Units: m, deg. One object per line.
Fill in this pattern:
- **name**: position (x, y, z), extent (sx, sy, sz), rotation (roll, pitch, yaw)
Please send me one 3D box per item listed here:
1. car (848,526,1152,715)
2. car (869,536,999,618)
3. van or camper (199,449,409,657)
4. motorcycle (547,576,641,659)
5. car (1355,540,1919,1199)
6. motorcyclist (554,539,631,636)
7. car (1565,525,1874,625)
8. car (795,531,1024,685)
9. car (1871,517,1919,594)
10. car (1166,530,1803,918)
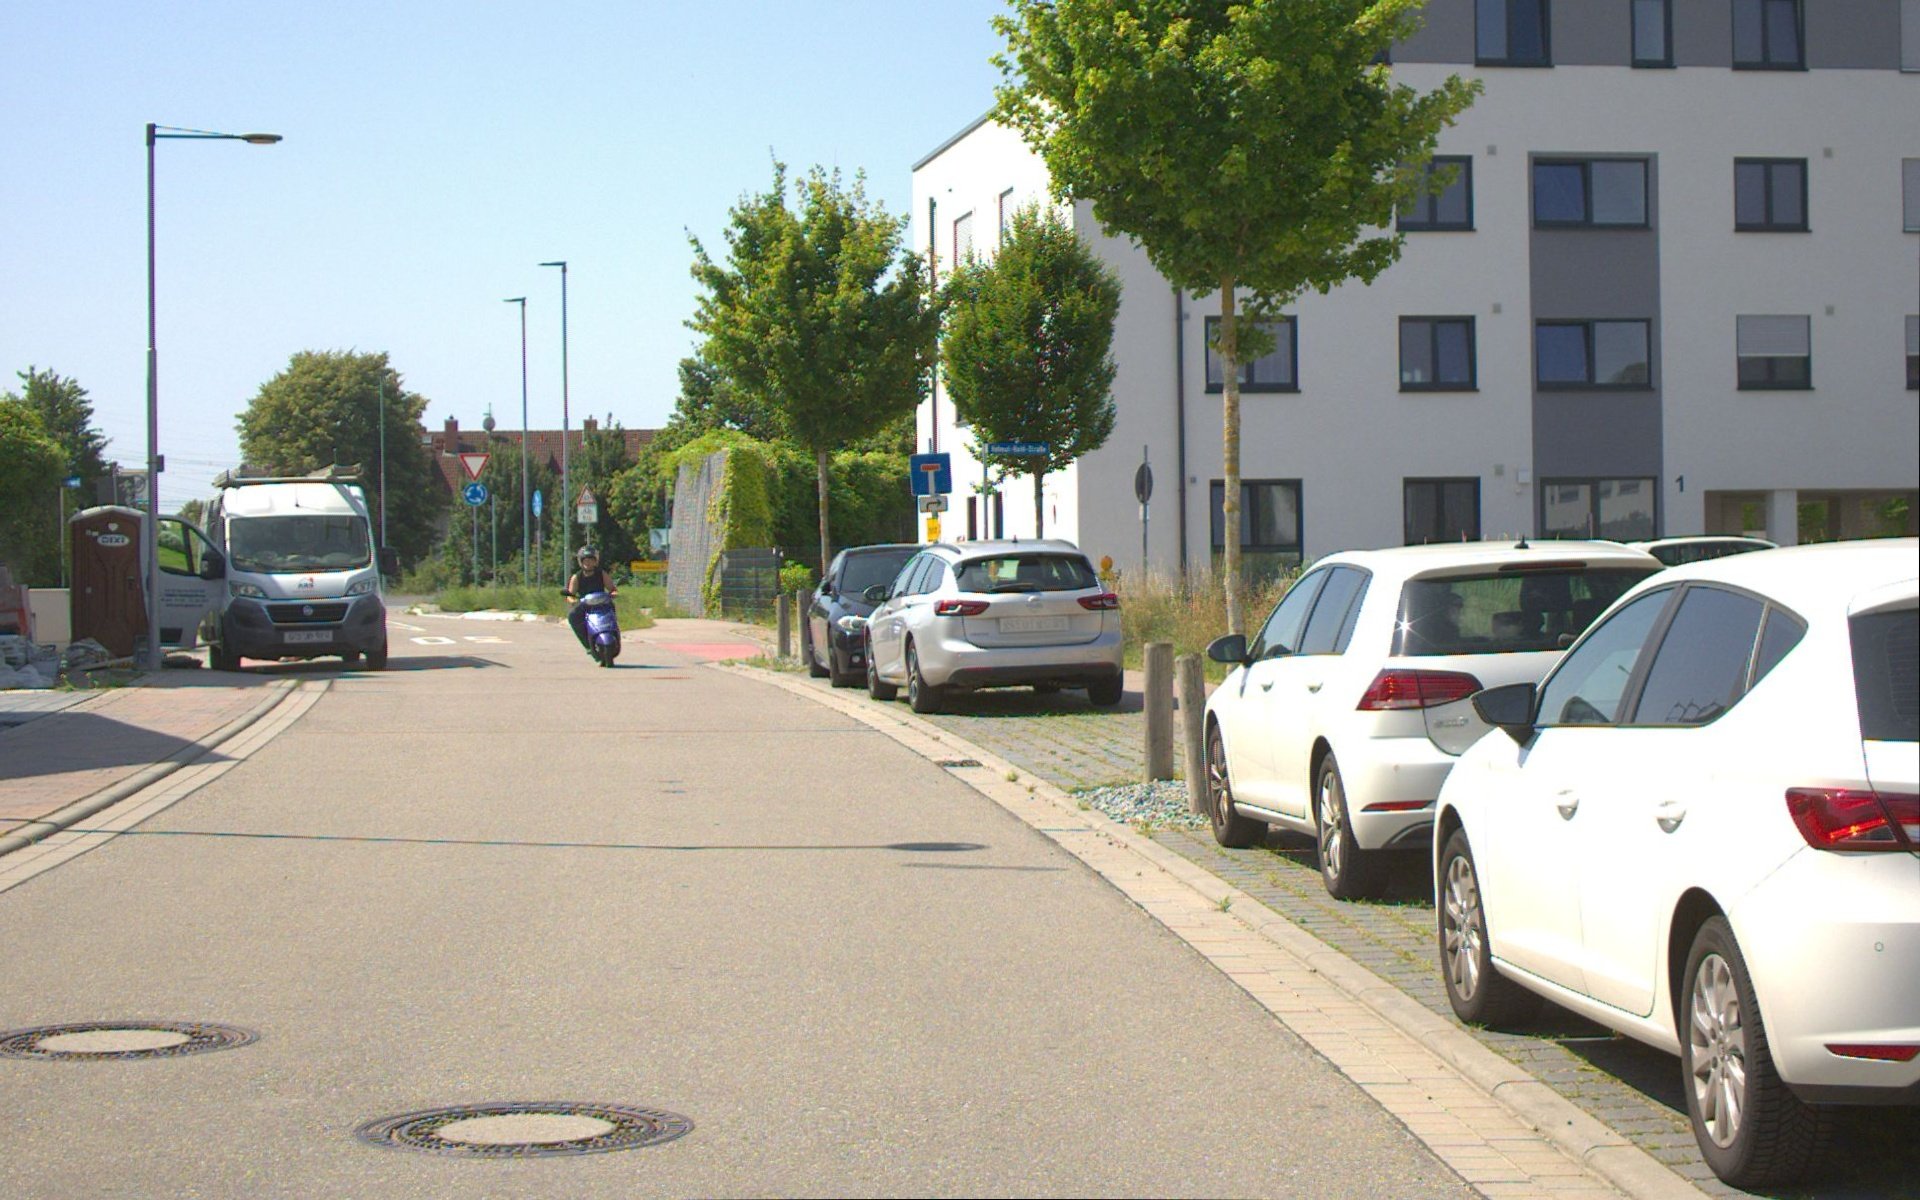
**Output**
- **car**: position (0.256, 0.114, 31.547), extent (1.918, 1.506, 5.296), rotation (-2, 2, -8)
- **car**: position (-0.523, -0.450, 64.223), extent (1.677, 1.464, 4.118), rotation (0, 1, -11)
- **van or camper**: position (-8.790, -0.592, 45.623), extent (2.272, 2.544, 6.369), rotation (-1, 0, -15)
- **motorcycle**: position (-4.777, 0.224, 44.699), extent (0.955, 1.032, 2.437), rotation (-1, 0, -12)
- **car**: position (2.414, 0.592, 9.339), extent (1.814, 1.451, 4.565), rotation (-2, 1, -4)
- **motorcyclist**: position (-4.755, -0.169, 44.465), extent (0.924, 1.218, 0.804), rotation (-1, 2, -9)
- **car**: position (11.533, -0.375, 52.335), extent (4.157, 1.431, 1.883), rotation (-1, 0, -10)
- **car**: position (-0.631, 0.025, 37.553), extent (1.918, 1.464, 5.141), rotation (-2, 2, -7)
- **car**: position (19.744, -0.898, 68.154), extent (1.876, 1.497, 3.680), rotation (-1, 0, -9)
- **car**: position (2.191, 0.435, 15.667), extent (1.779, 1.421, 4.515), rotation (-2, 2, -5)
